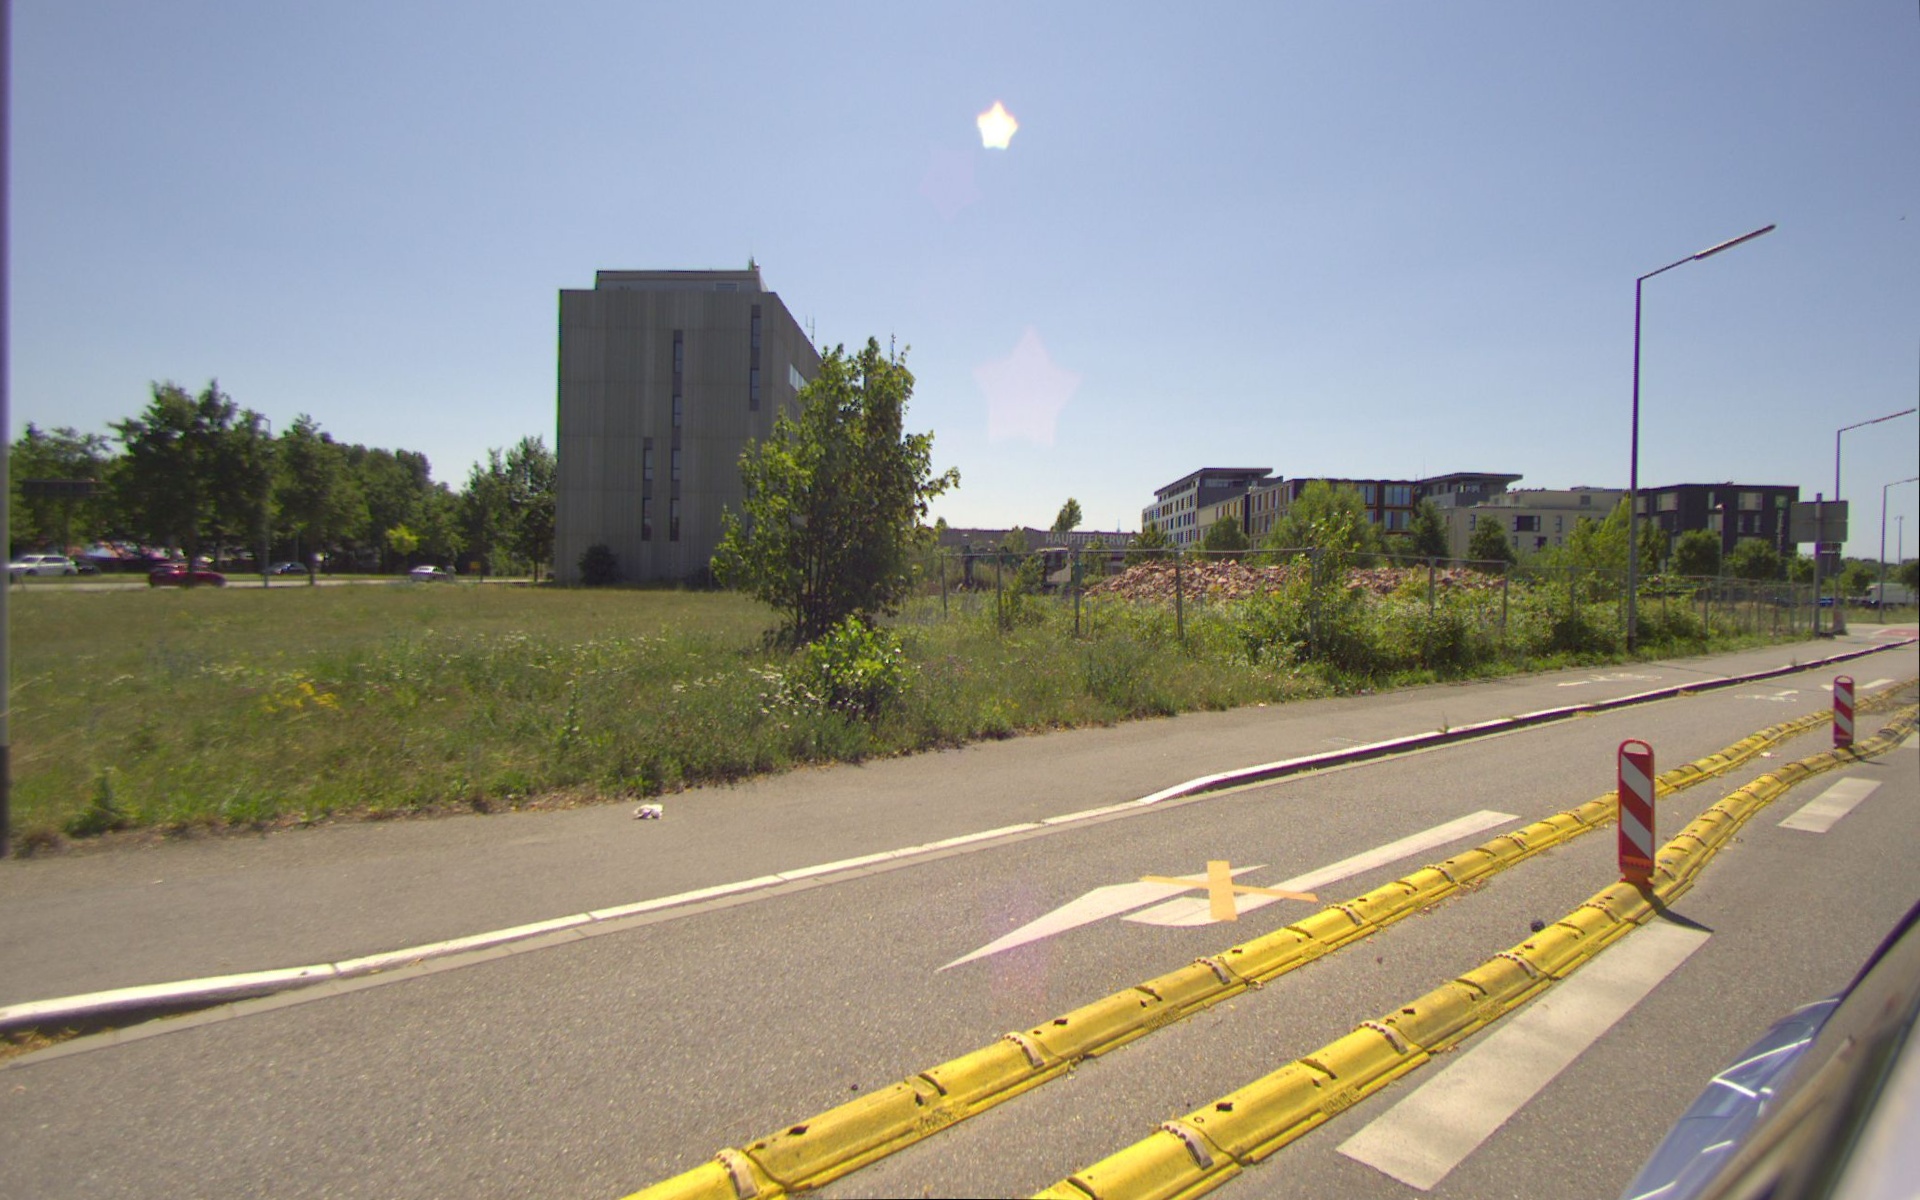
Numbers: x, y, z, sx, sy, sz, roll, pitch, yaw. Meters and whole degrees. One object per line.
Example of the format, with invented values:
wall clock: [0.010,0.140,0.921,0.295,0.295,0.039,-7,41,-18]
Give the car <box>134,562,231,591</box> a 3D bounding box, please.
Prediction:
car: [-43.551,-1.304,56.833,1.963,1.546,4.417,0,0,2]

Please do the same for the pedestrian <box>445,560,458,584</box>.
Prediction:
pedestrian: [-33.554,-1.839,66.769,0.652,1.611,0.557,0,0,-15]

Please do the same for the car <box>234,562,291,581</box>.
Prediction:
car: [-59.461,-2.410,86.372,1.814,1.612,4.443,0,0,1]

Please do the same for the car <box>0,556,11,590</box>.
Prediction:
car: [-47.600,-1.309,47.475,1.962,1.615,4.419,2,1,0]

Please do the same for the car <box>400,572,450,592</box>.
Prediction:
car: [-43.827,-1.482,83.051,1.961,1.546,4.423,1,1,-3]

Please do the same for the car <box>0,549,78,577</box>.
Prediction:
car: [-58.730,-2.315,64.135,1.814,1.612,4.444,0,0,1]

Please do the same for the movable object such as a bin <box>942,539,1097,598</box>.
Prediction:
movable object such as a bin: [3.138,-1.603,53.315,7.537,2.952,3.242,-1,0,-26]

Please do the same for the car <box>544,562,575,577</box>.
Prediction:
car: [-49.309,-3.763,124.752,1.960,1.757,5.334,0,0,-4]

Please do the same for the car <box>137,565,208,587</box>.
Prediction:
car: [-59.167,-1.803,76.134,1.814,1.612,4.415,0,0,1]
